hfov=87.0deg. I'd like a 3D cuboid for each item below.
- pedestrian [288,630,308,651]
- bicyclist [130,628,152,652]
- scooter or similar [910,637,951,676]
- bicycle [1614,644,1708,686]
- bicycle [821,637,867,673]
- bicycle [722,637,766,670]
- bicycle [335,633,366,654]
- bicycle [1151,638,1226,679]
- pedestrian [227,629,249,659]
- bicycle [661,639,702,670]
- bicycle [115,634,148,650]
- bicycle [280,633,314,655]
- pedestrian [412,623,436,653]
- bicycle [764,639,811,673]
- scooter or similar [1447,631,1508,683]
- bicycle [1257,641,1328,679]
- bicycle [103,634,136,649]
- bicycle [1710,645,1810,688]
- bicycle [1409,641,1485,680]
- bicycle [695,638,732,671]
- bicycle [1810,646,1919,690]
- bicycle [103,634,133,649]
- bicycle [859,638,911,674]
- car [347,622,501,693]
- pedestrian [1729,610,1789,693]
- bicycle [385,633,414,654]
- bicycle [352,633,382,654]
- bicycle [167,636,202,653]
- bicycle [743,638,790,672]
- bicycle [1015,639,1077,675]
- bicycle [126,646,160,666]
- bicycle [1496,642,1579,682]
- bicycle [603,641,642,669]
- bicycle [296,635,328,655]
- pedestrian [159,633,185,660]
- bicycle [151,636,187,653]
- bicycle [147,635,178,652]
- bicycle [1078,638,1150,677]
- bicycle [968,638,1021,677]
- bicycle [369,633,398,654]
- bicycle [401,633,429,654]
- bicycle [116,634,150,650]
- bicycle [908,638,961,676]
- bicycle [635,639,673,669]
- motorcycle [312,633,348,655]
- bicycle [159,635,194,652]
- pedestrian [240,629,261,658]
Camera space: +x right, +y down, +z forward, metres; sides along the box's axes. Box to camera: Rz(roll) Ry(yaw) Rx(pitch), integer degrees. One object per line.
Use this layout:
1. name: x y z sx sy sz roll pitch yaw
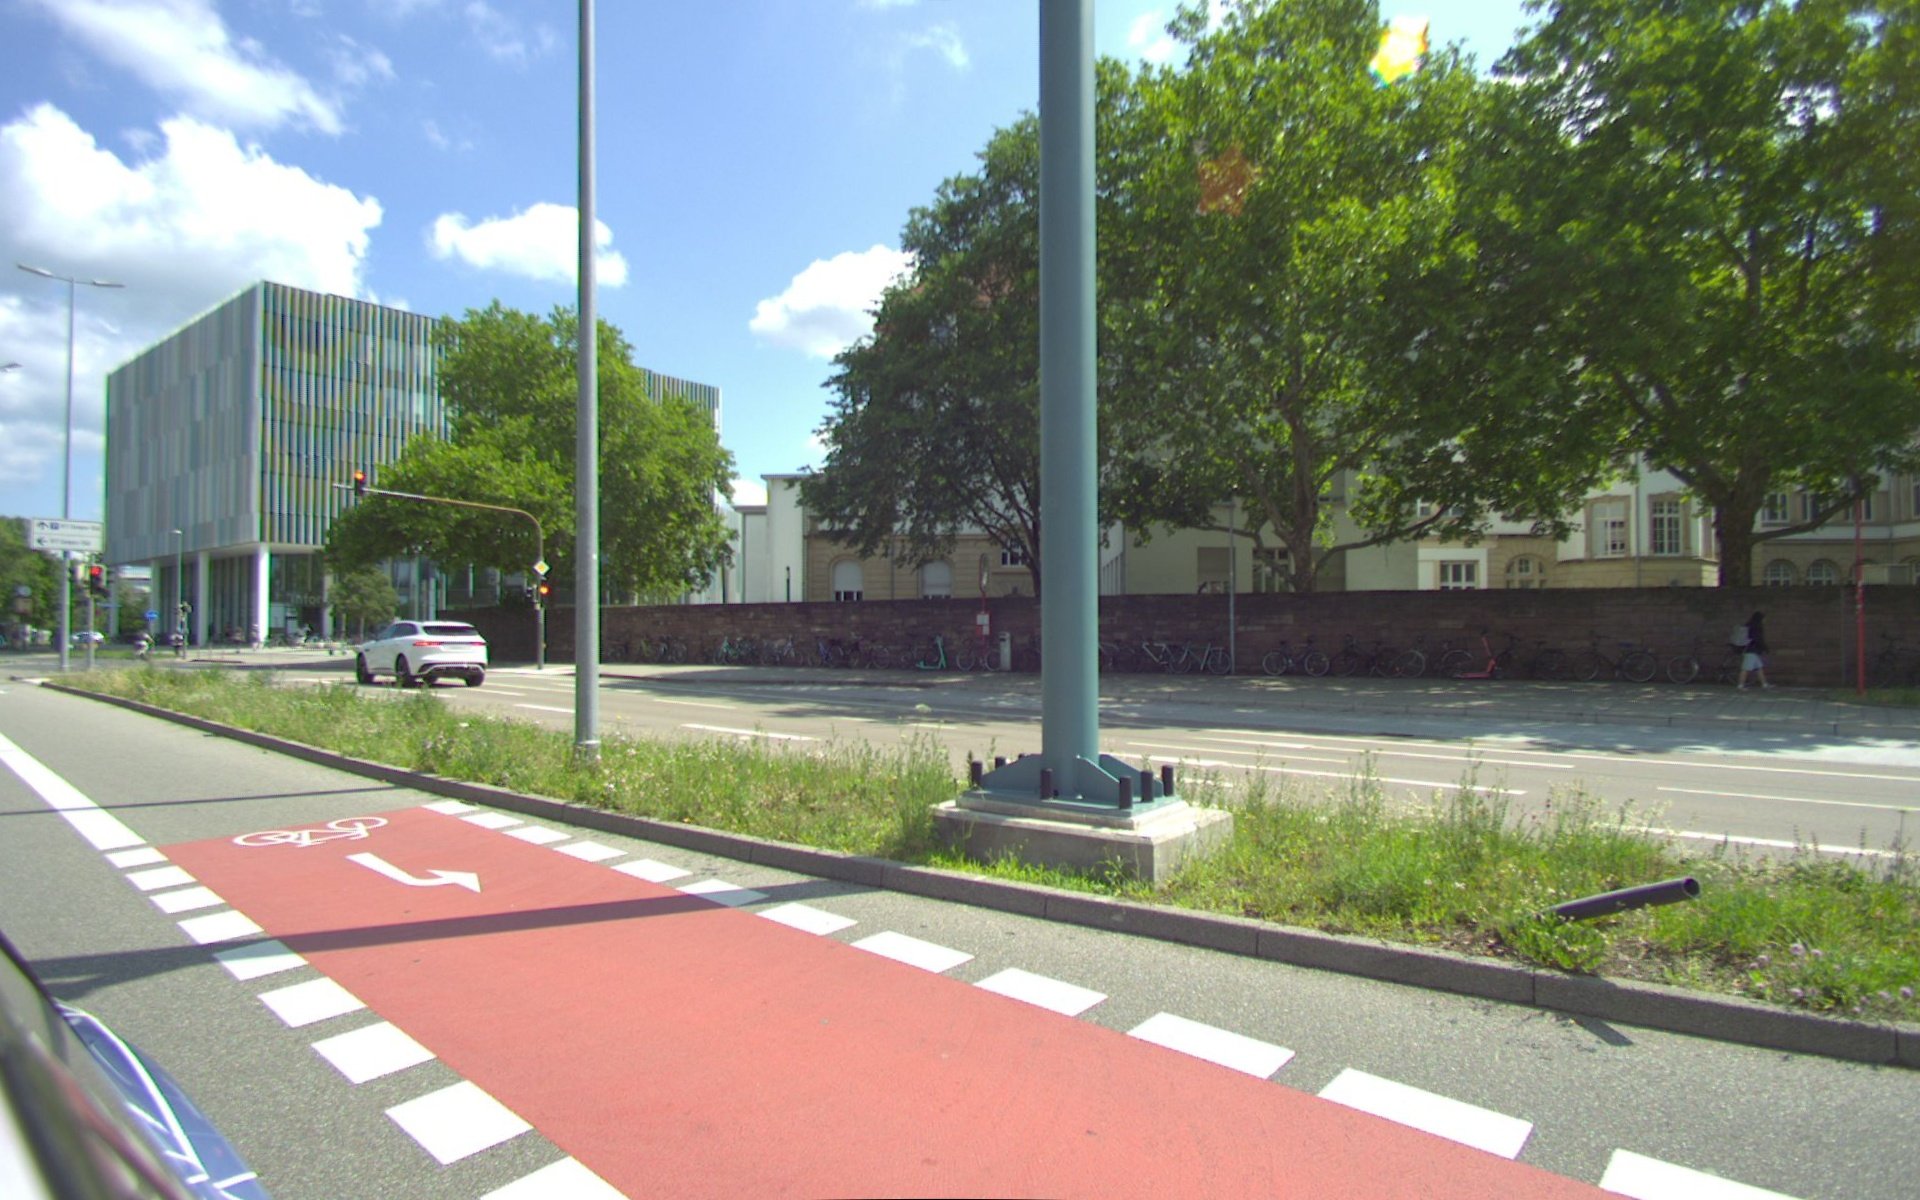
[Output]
1. pedestrian: -54.582 3.365 83.449 0.997 1.720 1.214 0 -2 -15
2. bicyclist: -42.919 2.091 53.023 0.608 1.235 0.836 0 -2 -17
3. scooter or similar: -0.917 1.726 31.030 1.184 1.161 0.430 -1 -2 21
4. bicycle: 15.826 1.453 22.896 1.656 0.909 0.540 -1 -2 27
5. bicycle: -3.870 1.827 33.685 1.588 1.161 0.398 -2 -2 30
6. bicycle: -7.735 1.918 36.198 1.581 1.161 0.400 -1 -2 18
7. bicycle: -46.887 3.336 77.889 1.034 1.564 3.423 0 -2 -13
8. bicycle: 6.211 1.581 27.545 1.887 1.055 0.540 -1 -2 29
9. pedestrian: -46.949 2.847 65.802 0.955 1.940 0.882 0 -2 -20
10. bicycle: -10.471 2.041 38.052 1.589 1.161 0.616 -2 -2 33
11. bicycle: -81.874 4.137 100.037 0.621 1.506 2.479 -2 -2 41
12. bicycle: -50.708 3.365 77.470 0.798 1.656 3.420 0 -2 -8
13. pedestrian: -35.492 2.512 67.035 0.968 1.940 1.097 -1 -2 31
14. bicycle: -5.939 1.918 34.849 1.576 1.161 0.401 -1 -2 9
15. scooter or similar: 12.174 1.339 23.834 1.184 1.192 0.430 -1 -2 21
16. bicycle: 8.592 1.543 26.136 1.658 0.956 0.540 -1 -2 29
17. bicycle: -85.327 4.186 102.757 0.621 1.506 2.479 -2 -2 41
18. bicycle: 17.336 1.428 21.975 1.663 0.909 0.497 -2 -2 38
19. bicycle: 11.895 1.475 24.732 1.658 0.909 0.540 -1 -2 29
20. bicycle: -9.073 1.994 37.210 1.591 1.161 0.408 -2 -2 36
21. bicycle: 19.152 1.426 21.412 1.656 0.909 0.540 -1 -2 26
22. bicycle: -86.238 4.204 103.670 0.656 1.506 2.273 -2 -2 41
23. bicycle: -2.408 1.793 32.516 1.582 1.161 0.530 -1 -2 20
24. car: -13.994 1.436 26.283 4.774 1.680 2.048 -2 -3 42
25. pedestrian: 16.054 1.015 20.351 0.752 1.629 0.612 -1 -1 20
26. bicycle: -43.145 3.354 77.914 0.983 1.564 3.423 0 -2 -13
27. bicycle: -45.475 3.334 77.639 0.983 1.564 3.423 0 -2 -13
28. bicycle: -69.306 3.966 90.460 2.473 1.506 0.731 1 -2 -39
29. bicycle: -6.774 1.929 35.484 1.576 1.161 0.401 -1 -2 9
30. bicycle: 2.529 1.671 29.806 1.795 1.016 0.476 -1 -2 32
31. bicycle: -42.956 2.952 53.205 0.636 1.006 2.170 0 -2 -18
32. bicycle: 13.587 1.458 23.856 1.658 0.909 0.540 -1 -2 29
33. bicycle: -13.327 2.167 39.960 1.589 1.107 0.567 -2 -2 33
34. bicycle: -49.664 3.455 77.565 0.919 1.505 2.690 0 -1 -4
35. pedestrian: -48.767 2.900 62.635 0.875 1.641 0.962 -1 -2 28
36. bicycle: -71.707 3.987 91.771 0.621 1.506 2.479 -2 -2 41
37. bicycle: -73.952 4.028 93.908 0.621 1.506 2.171 -2 -2 41
38. bicycle: 4.366 1.625 28.699 1.941 1.055 0.540 -1 -2 29
39. bicycle: 1.051 1.724 30.693 1.587 1.151 0.429 -1 -2 29
40. bicycle: -44.369 3.346 77.896 0.983 1.564 3.423 0 -2 -13
41. bicycle: -41.820 3.353 77.646 0.983 1.564 3.423 0 -2 -13
42. bicycle: -81.092 4.122 99.241 0.621 1.506 2.479 -2 -2 41
43. bicycle: -0.787 1.781 31.740 1.582 1.161 0.530 -1 -2 20
44. bicycle: -11.802 2.071 39.003 1.589 1.161 0.495 -2 -2 33
45. motorcycle: -48.329 3.354 77.675 0.957 1.652 3.301 0 -2 -5
46. bicycle: -71.913 4.013 92.918 0.621 1.506 2.479 -2 -2 41
47. pedestrian: -47.886 2.920 68.286 0.955 1.940 0.882 0 -2 -23
